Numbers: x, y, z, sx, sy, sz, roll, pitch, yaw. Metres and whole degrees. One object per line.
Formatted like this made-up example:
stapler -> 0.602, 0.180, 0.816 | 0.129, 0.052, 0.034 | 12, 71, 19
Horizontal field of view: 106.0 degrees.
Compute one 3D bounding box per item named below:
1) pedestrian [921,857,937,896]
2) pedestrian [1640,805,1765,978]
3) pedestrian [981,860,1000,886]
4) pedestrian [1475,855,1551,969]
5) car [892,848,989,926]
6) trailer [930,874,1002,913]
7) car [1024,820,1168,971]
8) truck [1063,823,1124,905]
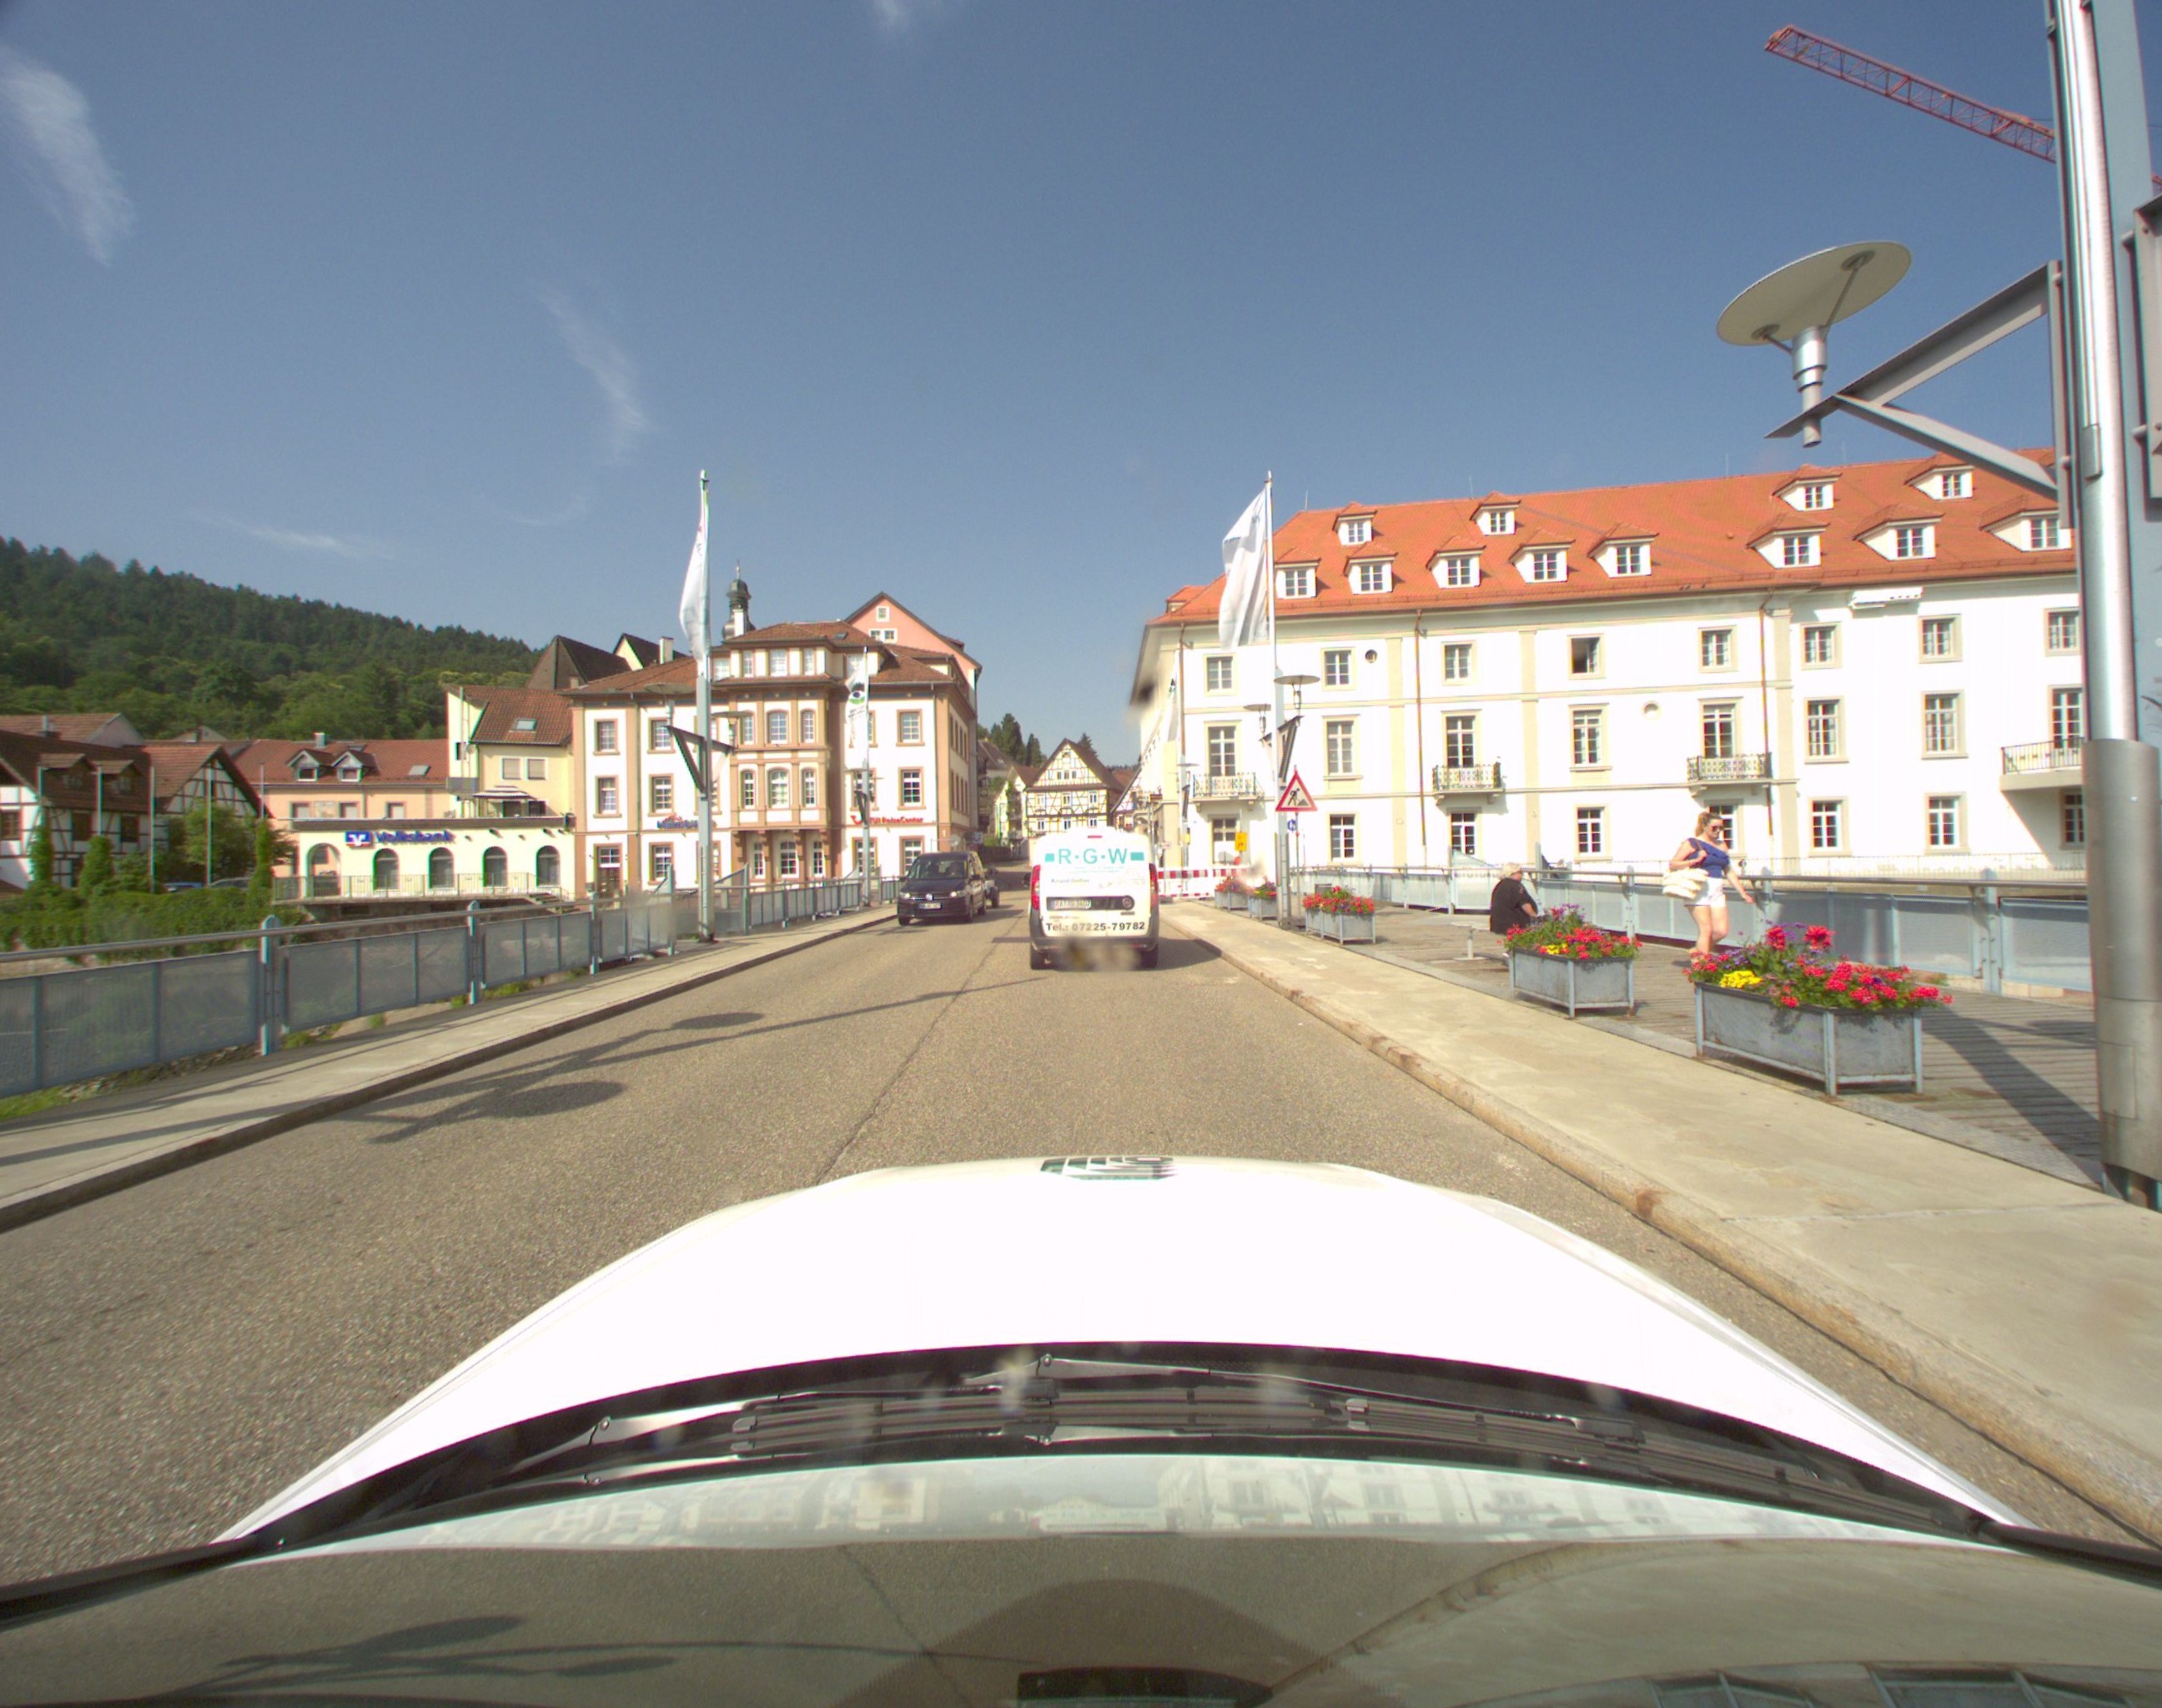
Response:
pedestrian -> -6.365, 0.935, 34.128 | 0.582, 1.609, 0.537 | 0, 0, -3
pedestrian -> 6.488, 0.375, 8.541 | 0.723, 1.723, 0.747 | -1, 0, 0
pedestrian -> -6.042, 1.256, 54.389 | 1.070, 1.647, 0.686 | -1, 0, 1
pedestrian -> 4.912, 0.639, 9.289 | 0.451, 1.244, 0.625 | -2, -1, -7
car -> -3.503, 0.744, 21.165 | 1.771, 1.792, 4.695 | 0, 0, -1
trailer -> -3.526, 1.194, 25.635 | 1.745, 1.022, 4.183 | -2, -1, -2
car -> 0.049, 0.541, 12.583 | 1.841, 1.906, 4.308 | -1, 0, -4
truck -> 0.350, 0.335, 27.933 | 1.856, 2.585, 4.257 | -1, 0, -2
